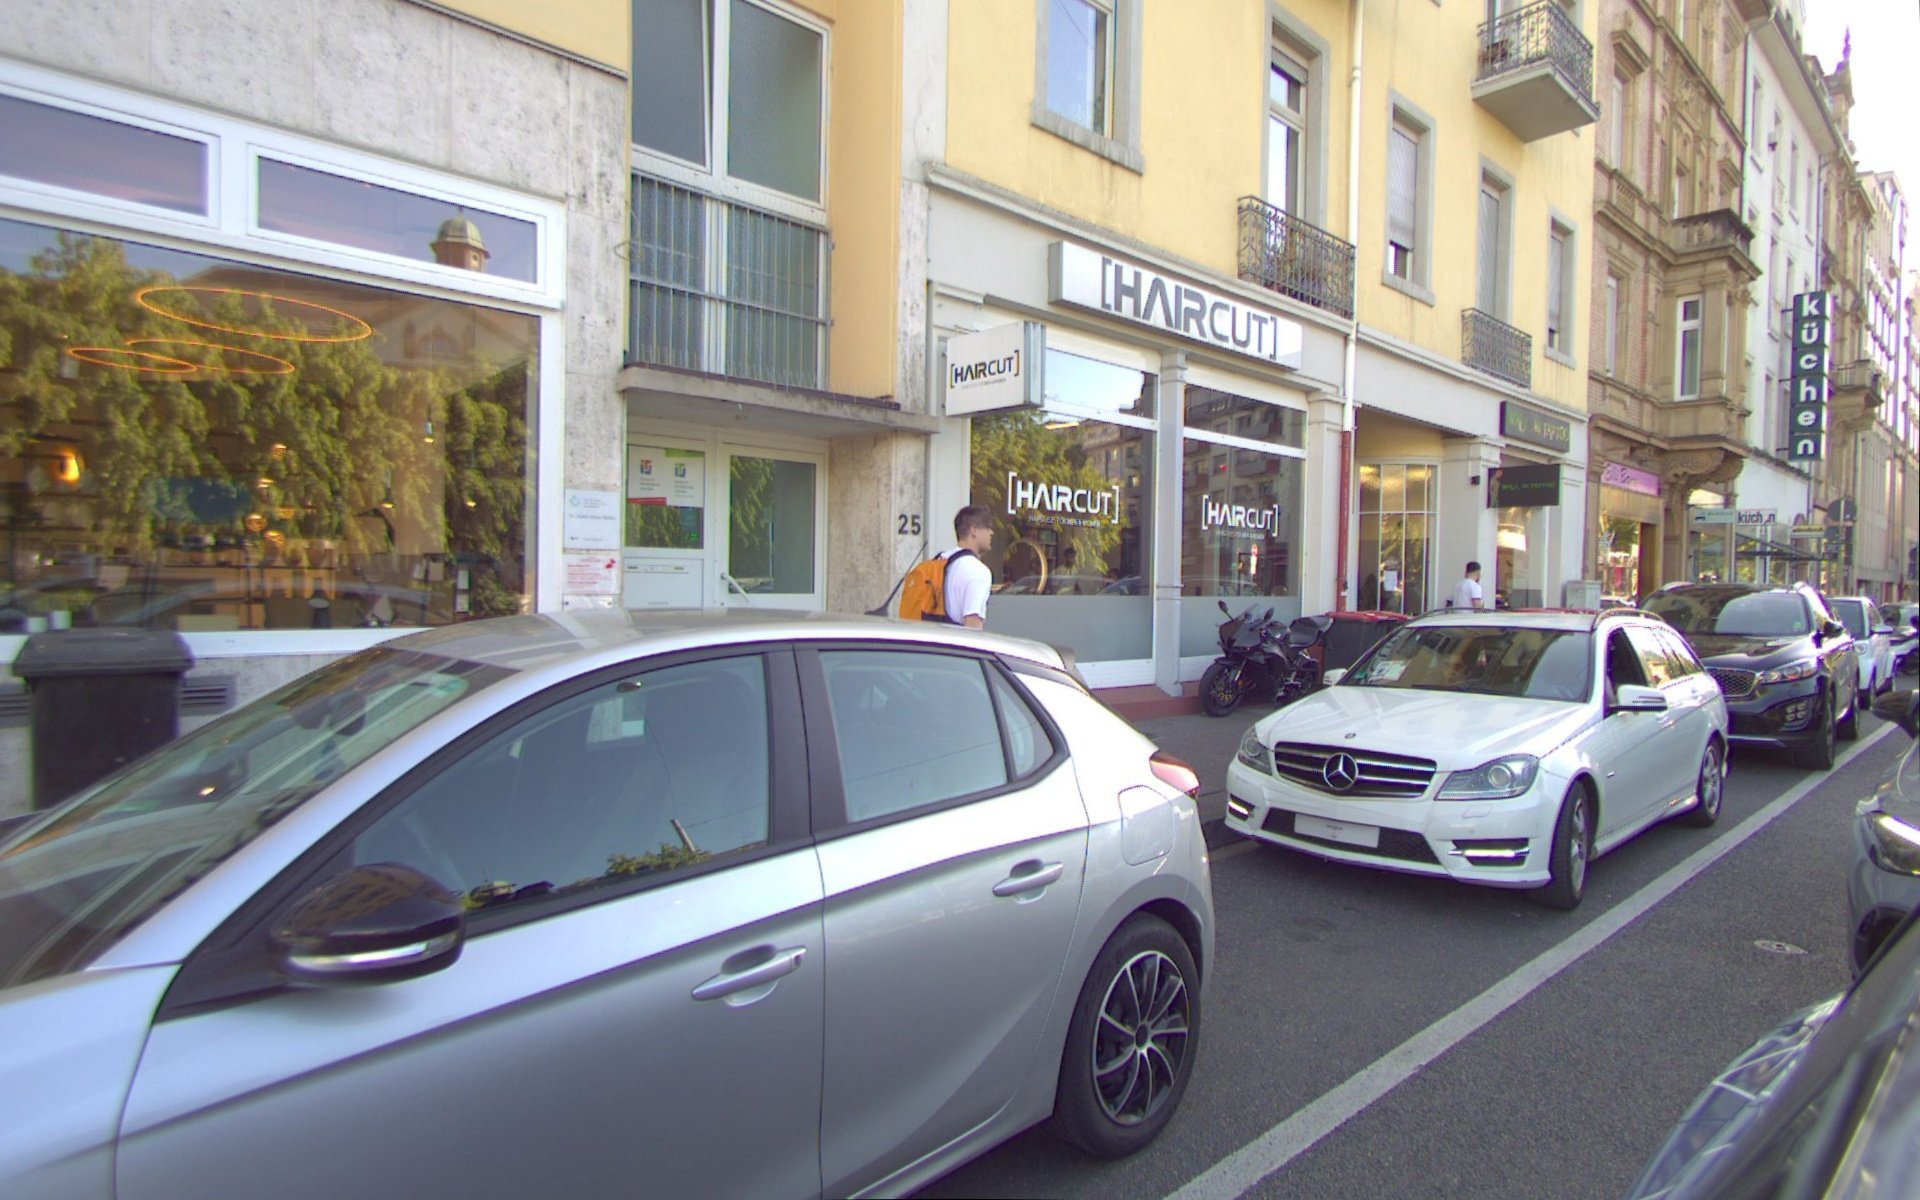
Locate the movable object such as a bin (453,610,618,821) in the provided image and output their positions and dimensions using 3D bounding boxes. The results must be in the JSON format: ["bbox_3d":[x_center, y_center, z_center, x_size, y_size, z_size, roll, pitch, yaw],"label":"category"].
[{"bbox_3d":[-2.327,0.580,5.537,0.639,1.036,0.737,0,0,-41],"label":"movable object such as a bin"}]

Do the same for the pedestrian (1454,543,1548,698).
[{"bbox_3d":[6.824,0.254,12.803,0.961,1.900,0.532,0,0,18],"label":"pedestrian"}]

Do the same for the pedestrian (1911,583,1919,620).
[{"bbox_3d":[46.178,0.073,48.491,0.809,1.782,0.825,0,0,-42],"label":"pedestrian"}]

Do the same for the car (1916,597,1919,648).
[{"bbox_3d":[26.609,0.572,26.928,3.306,1.334,1.459,-1,0,-42],"label":"car"}]

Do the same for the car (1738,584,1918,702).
[{"bbox_3d":[12.770,0.546,14.853,2.945,1.542,1.582,-1,0,-41],"label":"car"}]

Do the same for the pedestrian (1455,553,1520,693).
[{"bbox_3d":[7.239,0.300,13.874,0.627,1.859,0.760,0,0,41],"label":"pedestrian"}]

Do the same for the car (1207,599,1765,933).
[{"bbox_3d":[3.532,0.707,6.388,4.301,1.389,1.671,-1,0,-41],"label":"car"}]

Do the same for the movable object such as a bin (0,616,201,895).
[{"bbox_3d":[-3.674,0.599,4.323,0.639,1.036,0.737,0,0,-41],"label":"movable object such as a bin"}]

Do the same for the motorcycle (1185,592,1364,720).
[{"bbox_3d":[3.301,0.522,10.504,2.073,1.144,0.735,-1,5,-41],"label":"motorcycle"}]

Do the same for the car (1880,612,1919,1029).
[{"bbox_3d":[5.397,0.749,4.376,4.397,1.385,1.767,-1,1,-43],"label":"car"}]

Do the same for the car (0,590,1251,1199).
[{"bbox_3d":[-1.006,0.714,2.307,3.625,1.455,1.585,-1,0,-43],"label":"car"}]

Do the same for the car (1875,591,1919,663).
[{"bbox_3d":[21.897,0.564,22.809,3.736,1.509,1.691,-1,0,-45],"label":"car"}]

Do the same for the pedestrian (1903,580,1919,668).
[{"bbox_3d":[19.515,0.476,20.073,0.804,1.741,0.837,0,0,0],"label":"pedestrian"}]

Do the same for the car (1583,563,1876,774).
[{"bbox_3d":[8.009,0.529,10.366,4.338,1.711,1.802,-1,0,-45],"label":"car"}]

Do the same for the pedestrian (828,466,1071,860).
[{"bbox_3d":[-0.062,0.275,5.336,0.964,1.845,0.811,0,2,-37],"label":"pedestrian"}]
